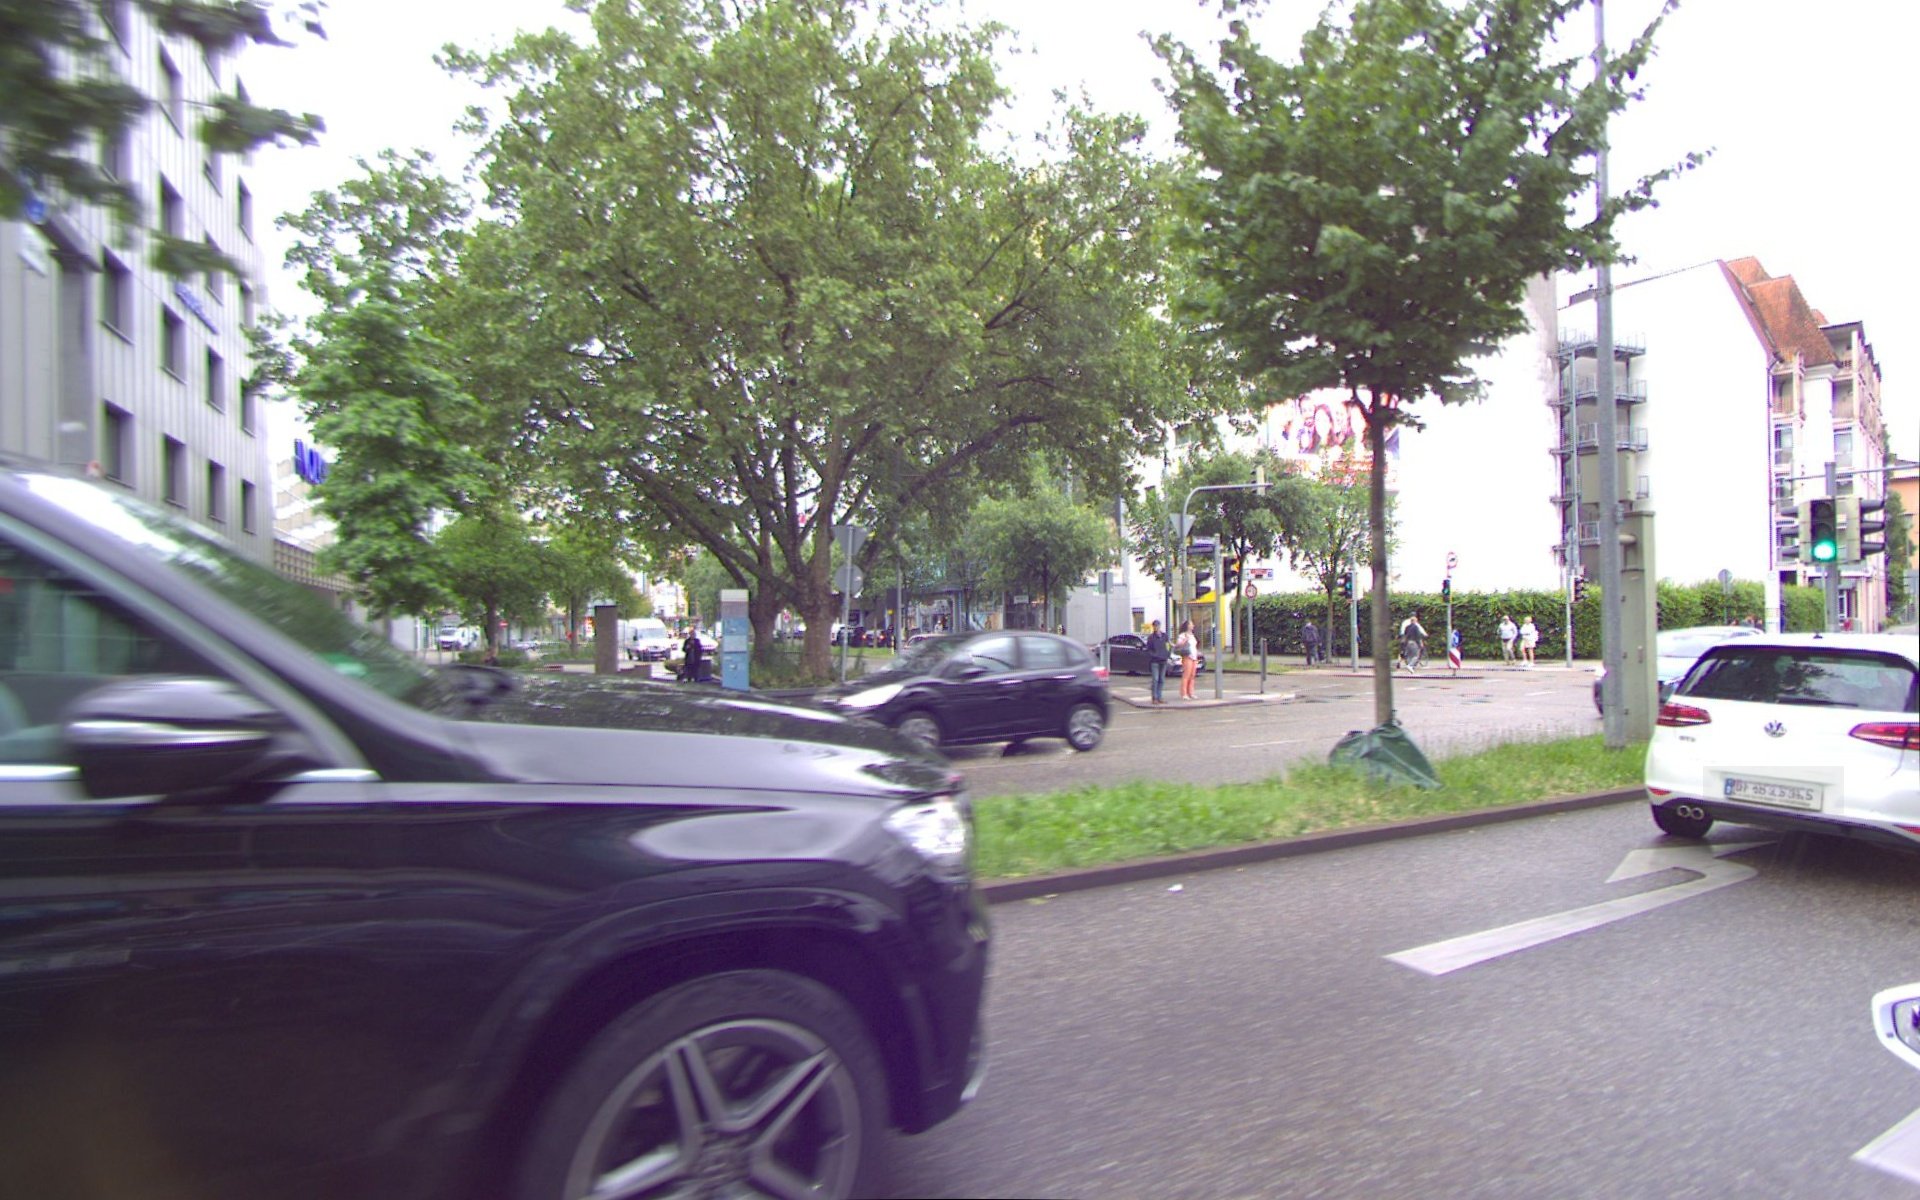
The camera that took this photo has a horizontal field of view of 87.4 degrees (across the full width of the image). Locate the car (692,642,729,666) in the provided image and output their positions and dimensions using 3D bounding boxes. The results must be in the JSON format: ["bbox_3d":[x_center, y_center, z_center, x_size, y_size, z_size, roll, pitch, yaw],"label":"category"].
[{"bbox_3d":[-17.069,3.680,68.521,1.837,1.483,3.978,0,-1,-24],"label":"car"}]

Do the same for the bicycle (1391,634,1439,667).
[{"bbox_3d":[16.221,1.788,35.771,2.039,1.125,0.645,0,-1,-37],"label":"bicycle"}]

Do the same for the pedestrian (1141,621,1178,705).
[{"bbox_3d":[4.379,1.368,22.041,0.669,1.787,0.408,-2,0,-33],"label":"pedestrian"}]

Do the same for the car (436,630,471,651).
[{"bbox_3d":[-44.638,3.531,88.567,1.885,1.773,3.799,2,-2,-15],"label":"car"}]

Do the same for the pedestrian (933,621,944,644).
[{"bbox_3d":[-1.508,2.271,70.199,0.521,1.621,0.693,0,-1,-25],"label":"pedestrian"}]

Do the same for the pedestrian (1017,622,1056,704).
[{"bbox_3d":[1.856,1.512,24.387,0.844,1.931,0.827,2,-2,-1],"label":"pedestrian"}]

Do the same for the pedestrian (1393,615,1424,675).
[{"bbox_3d":[13.625,1.358,30.491,0.587,1.787,0.642,3,-3,-36],"label":"pedestrian"}]

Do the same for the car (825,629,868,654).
[{"bbox_3d":[-8.549,3.113,75.824,1.907,1.684,3.876,3,-1,14],"label":"car"}]

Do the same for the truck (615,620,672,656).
[{"bbox_3d":[-20.460,2.404,64.745,1.977,2.183,6.651,0,-1,-31],"label":"truck"}]

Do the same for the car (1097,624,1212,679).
[{"bbox_3d":[6.535,1.730,33.983,1.623,1.718,3.561,-1,-2,-39],"label":"car"}]

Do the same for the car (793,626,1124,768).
[{"bbox_3d":[0.036,1.120,12.428,3.836,1.510,1.610,1,-4,-32],"label":"car"}]

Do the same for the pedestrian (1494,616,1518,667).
[{"bbox_3d":[19.468,1.464,35.812,0.586,1.788,0.523,0,2,-33],"label":"pedestrian"}]

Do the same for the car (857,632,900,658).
[{"bbox_3d":[-5.806,3.209,72.113,1.907,1.684,3.876,3,-1,14],"label":"car"}]

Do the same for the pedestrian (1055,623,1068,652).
[{"bbox_3d":[5.692,2.092,56.540,0.522,1.621,0.555,0,-1,-26],"label":"pedestrian"}]

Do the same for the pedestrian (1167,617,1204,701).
[{"bbox_3d":[5.083,1.329,22.624,0.670,1.861,0.443,3,-3,-36],"label":"pedestrian"}]

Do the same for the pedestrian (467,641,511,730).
[{"bbox_3d":[-8.981,1.613,19.159,0.692,1.627,0.675,-1,-2,-30],"label":"pedestrian"}]

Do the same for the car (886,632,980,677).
[{"bbox_3d":[-1.093,2.094,39.235,1.686,1.607,3.958,-1,-1,-37],"label":"car"}]

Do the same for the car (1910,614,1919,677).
[{"bbox_3d":[25.811,1.125,25.537,3.620,1.576,1.613,0,-1,-33],"label":"car"}]

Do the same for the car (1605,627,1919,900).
[{"bbox_3d":[6.576,0.968,7.191,3.955,1.428,1.755,2,0,-32],"label":"car"}]

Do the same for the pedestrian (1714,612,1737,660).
[{"bbox_3d":[28.989,1.378,38.024,0.624,1.787,0.523,3,-3,-35],"label":"pedestrian"}]

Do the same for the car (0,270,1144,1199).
[{"bbox_3d":[-2.164,0.431,1.950,4.831,1.801,1.983,3,-1,-31],"label":"car"}]

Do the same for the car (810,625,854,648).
[{"bbox_3d":[-10.113,2.882,79.649,1.907,1.684,3.874,3,-1,19],"label":"car"}]

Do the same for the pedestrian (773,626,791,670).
[{"bbox_3d":[-5.891,1.575,33.267,0.515,1.424,0.549,-2,-2,-3],"label":"pedestrian"}]

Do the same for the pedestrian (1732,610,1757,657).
[{"bbox_3d":[30.448,1.291,38.995,0.587,1.787,0.637,3,-3,-35],"label":"pedestrian"}]

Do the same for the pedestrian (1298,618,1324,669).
[{"bbox_3d":[12.579,1.562,36.014,0.778,1.804,0.653,1,-2,14],"label":"pedestrian"}]

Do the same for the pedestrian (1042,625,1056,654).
[{"bbox_3d":[4.977,2.203,56.219,0.522,1.621,0.555,0,-1,-26],"label":"pedestrian"}]

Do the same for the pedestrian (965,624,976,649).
[{"bbox_3d":[0.697,2.329,64.615,0.522,1.621,0.555,0,-1,-26],"label":"pedestrian"}]

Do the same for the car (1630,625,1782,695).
[{"bbox_3d":[17.806,1.389,23.952,3.602,1.535,1.664,1,-3,-32],"label":"car"}]

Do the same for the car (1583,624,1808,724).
[{"bbox_3d":[12.334,1.202,16.795,3.914,1.498,1.704,2,-4,-32],"label":"car"}]

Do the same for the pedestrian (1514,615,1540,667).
[{"bbox_3d":[19.920,1.438,35.281,0.586,1.788,0.523,1,1,-33],"label":"pedestrian"}]
